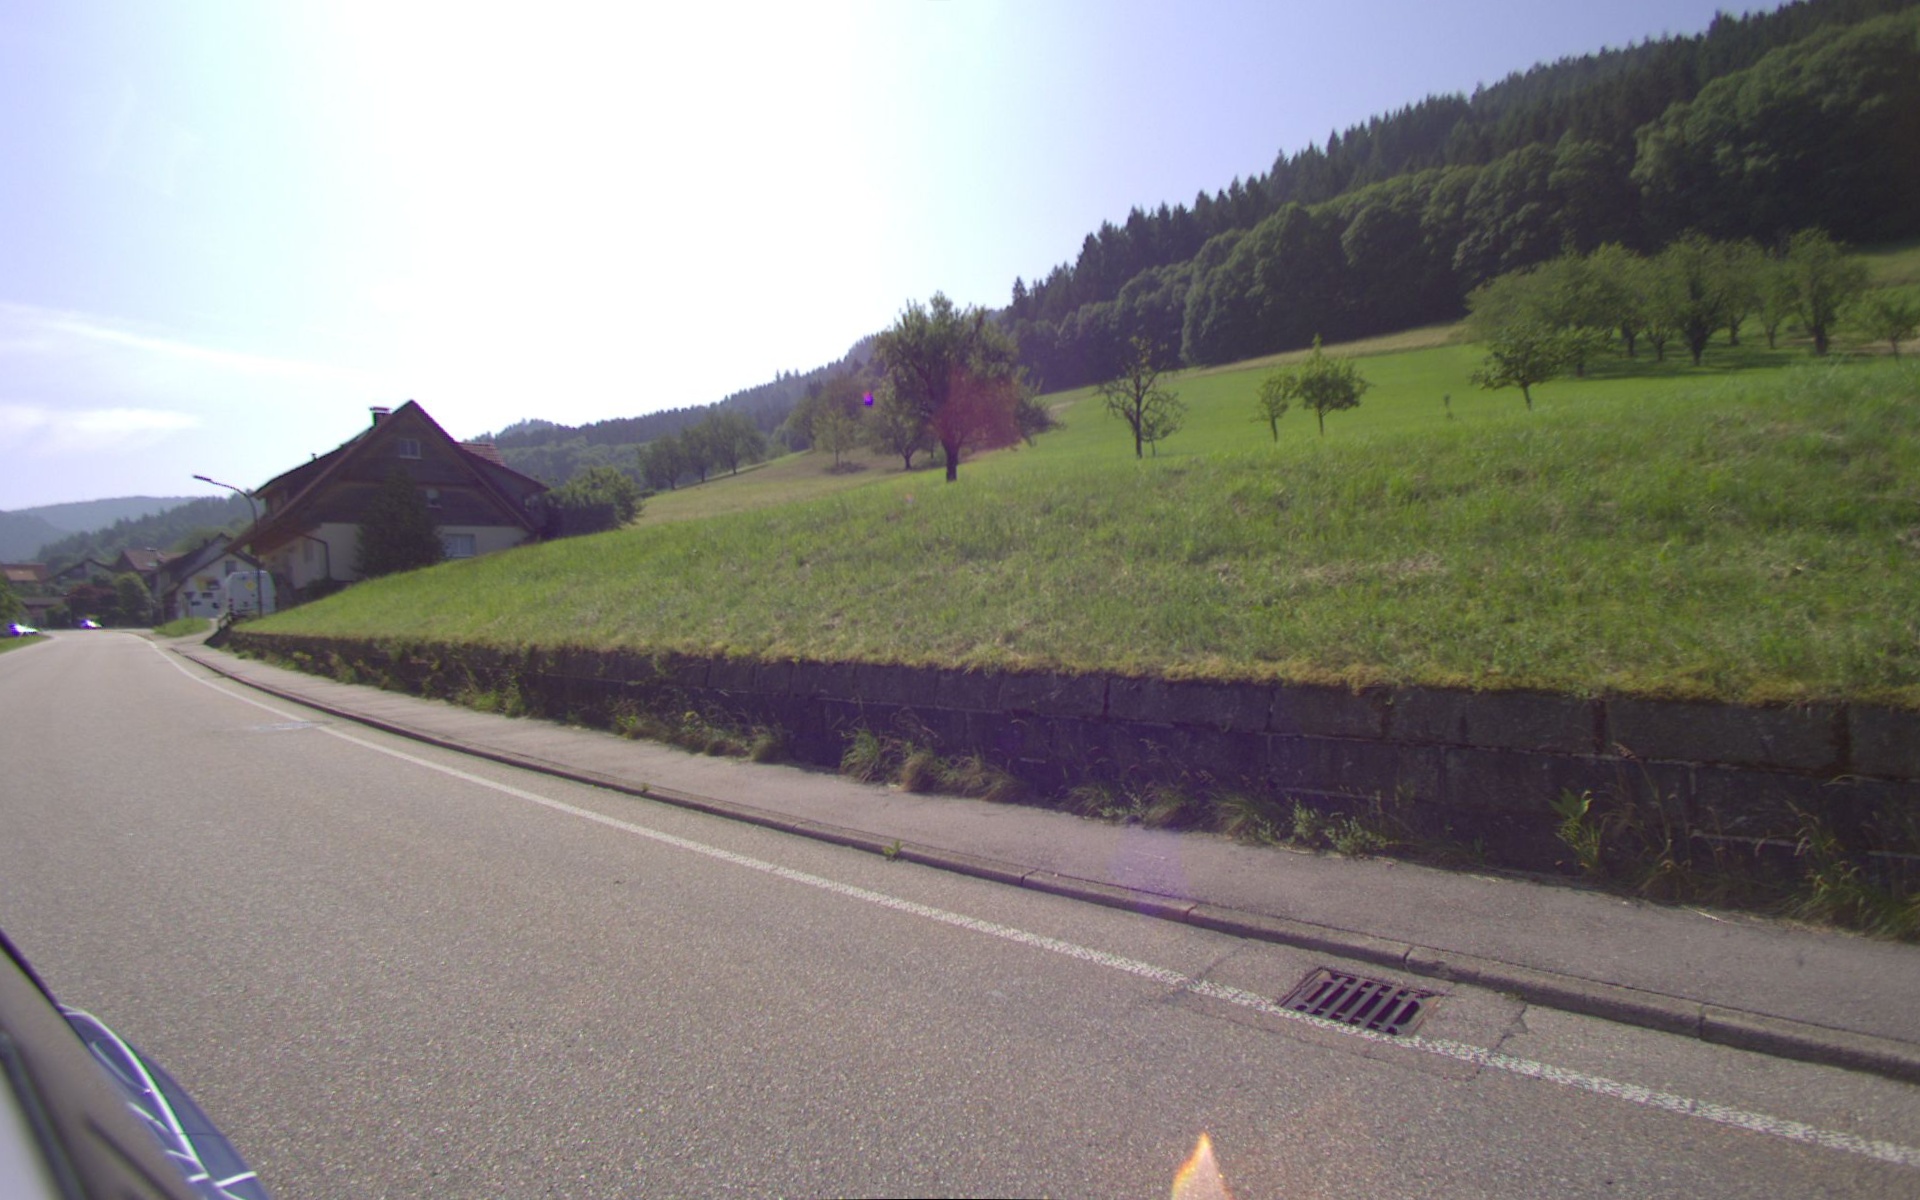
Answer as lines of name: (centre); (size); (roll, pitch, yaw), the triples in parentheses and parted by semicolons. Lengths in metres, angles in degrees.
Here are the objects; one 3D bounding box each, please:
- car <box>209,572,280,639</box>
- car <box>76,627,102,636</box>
car: (-36.095, 0.354, 50.950); (2.042, 2.708, 7.183); (-5, -1, -41)
car: (-138.329, 5.046, 160.765); (4.679, 1.348, 1.769); (-2, 0, 32)
